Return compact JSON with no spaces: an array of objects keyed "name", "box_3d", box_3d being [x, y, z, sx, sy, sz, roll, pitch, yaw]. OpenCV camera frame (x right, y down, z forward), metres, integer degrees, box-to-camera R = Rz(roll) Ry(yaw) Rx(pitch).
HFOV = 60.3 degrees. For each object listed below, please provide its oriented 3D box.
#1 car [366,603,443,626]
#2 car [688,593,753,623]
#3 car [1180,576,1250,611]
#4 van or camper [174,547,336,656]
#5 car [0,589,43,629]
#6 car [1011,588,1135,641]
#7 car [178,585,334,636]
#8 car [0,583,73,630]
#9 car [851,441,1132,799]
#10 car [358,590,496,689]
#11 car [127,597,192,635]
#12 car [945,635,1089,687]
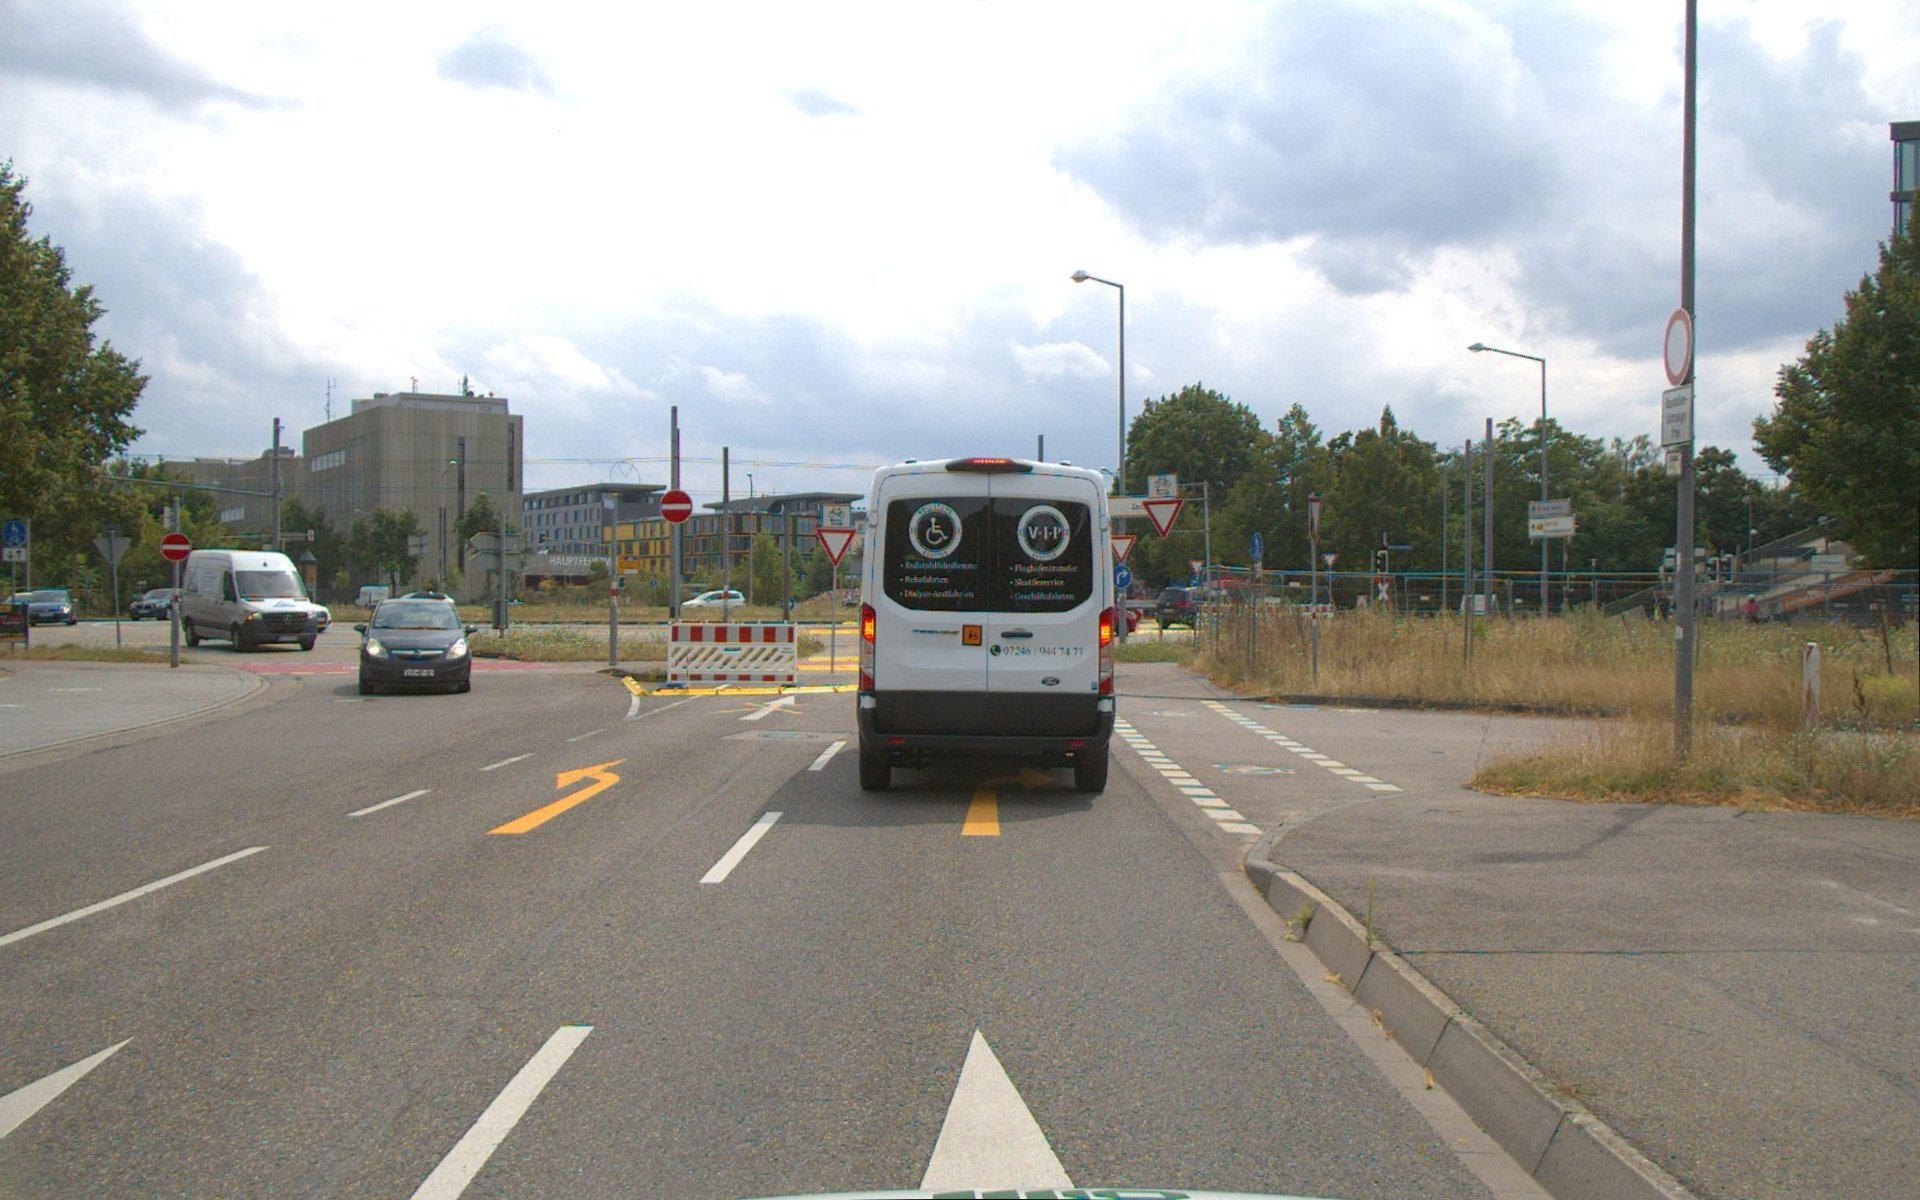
[{"name":"car","box_3d":[-32.527,0.845,96.828,3.961,1.213,1.662,-2,1,-39]},{"name":"car","box_3d":[-16.015,0.530,110.691,3.953,1.802,1.746,-2,1,-35]},{"name":"car","box_3d":[14.442,-0.362,93.905,1.978,1.848,4.384,-2,1,-21]},{"name":"van or camper","box_3d":[-19.309,0.015,45.143,2.139,2.772,6.180,-2,1,-42]},{"name":"car","box_3d":[-44.904,0.415,79.062,1.744,1.802,3.959,-2,1,-30]},{"name":"car","box_3d":[3.952,0.477,57.909,3.937,1.691,1.876,-2,0,-25]},{"name":"car","box_3d":[-23.395,0.331,54.942,4.925,1.606,1.864,0,0,23]},{"name":"car","box_3d":[-37.868,0.276,67.476,1.985,1.802,3.935,-2,1,-44]},{"name":"car","box_3d":[0.221,0.146,14.007,2.020,2.584,4.000,0,0,0]},{"name":"car","box_3d":[-8.719,0.593,27.326,1.741,1.504,4.244,0,0,-12]},{"name":"car","box_3d":[-40.523,0.766,83.774,1.729,1.802,3.994,-2,0,-7]},{"name":"car","box_3d":[1.798,1.893,52.255,4.286,1.377,1.610,-2,0,-25]}]
